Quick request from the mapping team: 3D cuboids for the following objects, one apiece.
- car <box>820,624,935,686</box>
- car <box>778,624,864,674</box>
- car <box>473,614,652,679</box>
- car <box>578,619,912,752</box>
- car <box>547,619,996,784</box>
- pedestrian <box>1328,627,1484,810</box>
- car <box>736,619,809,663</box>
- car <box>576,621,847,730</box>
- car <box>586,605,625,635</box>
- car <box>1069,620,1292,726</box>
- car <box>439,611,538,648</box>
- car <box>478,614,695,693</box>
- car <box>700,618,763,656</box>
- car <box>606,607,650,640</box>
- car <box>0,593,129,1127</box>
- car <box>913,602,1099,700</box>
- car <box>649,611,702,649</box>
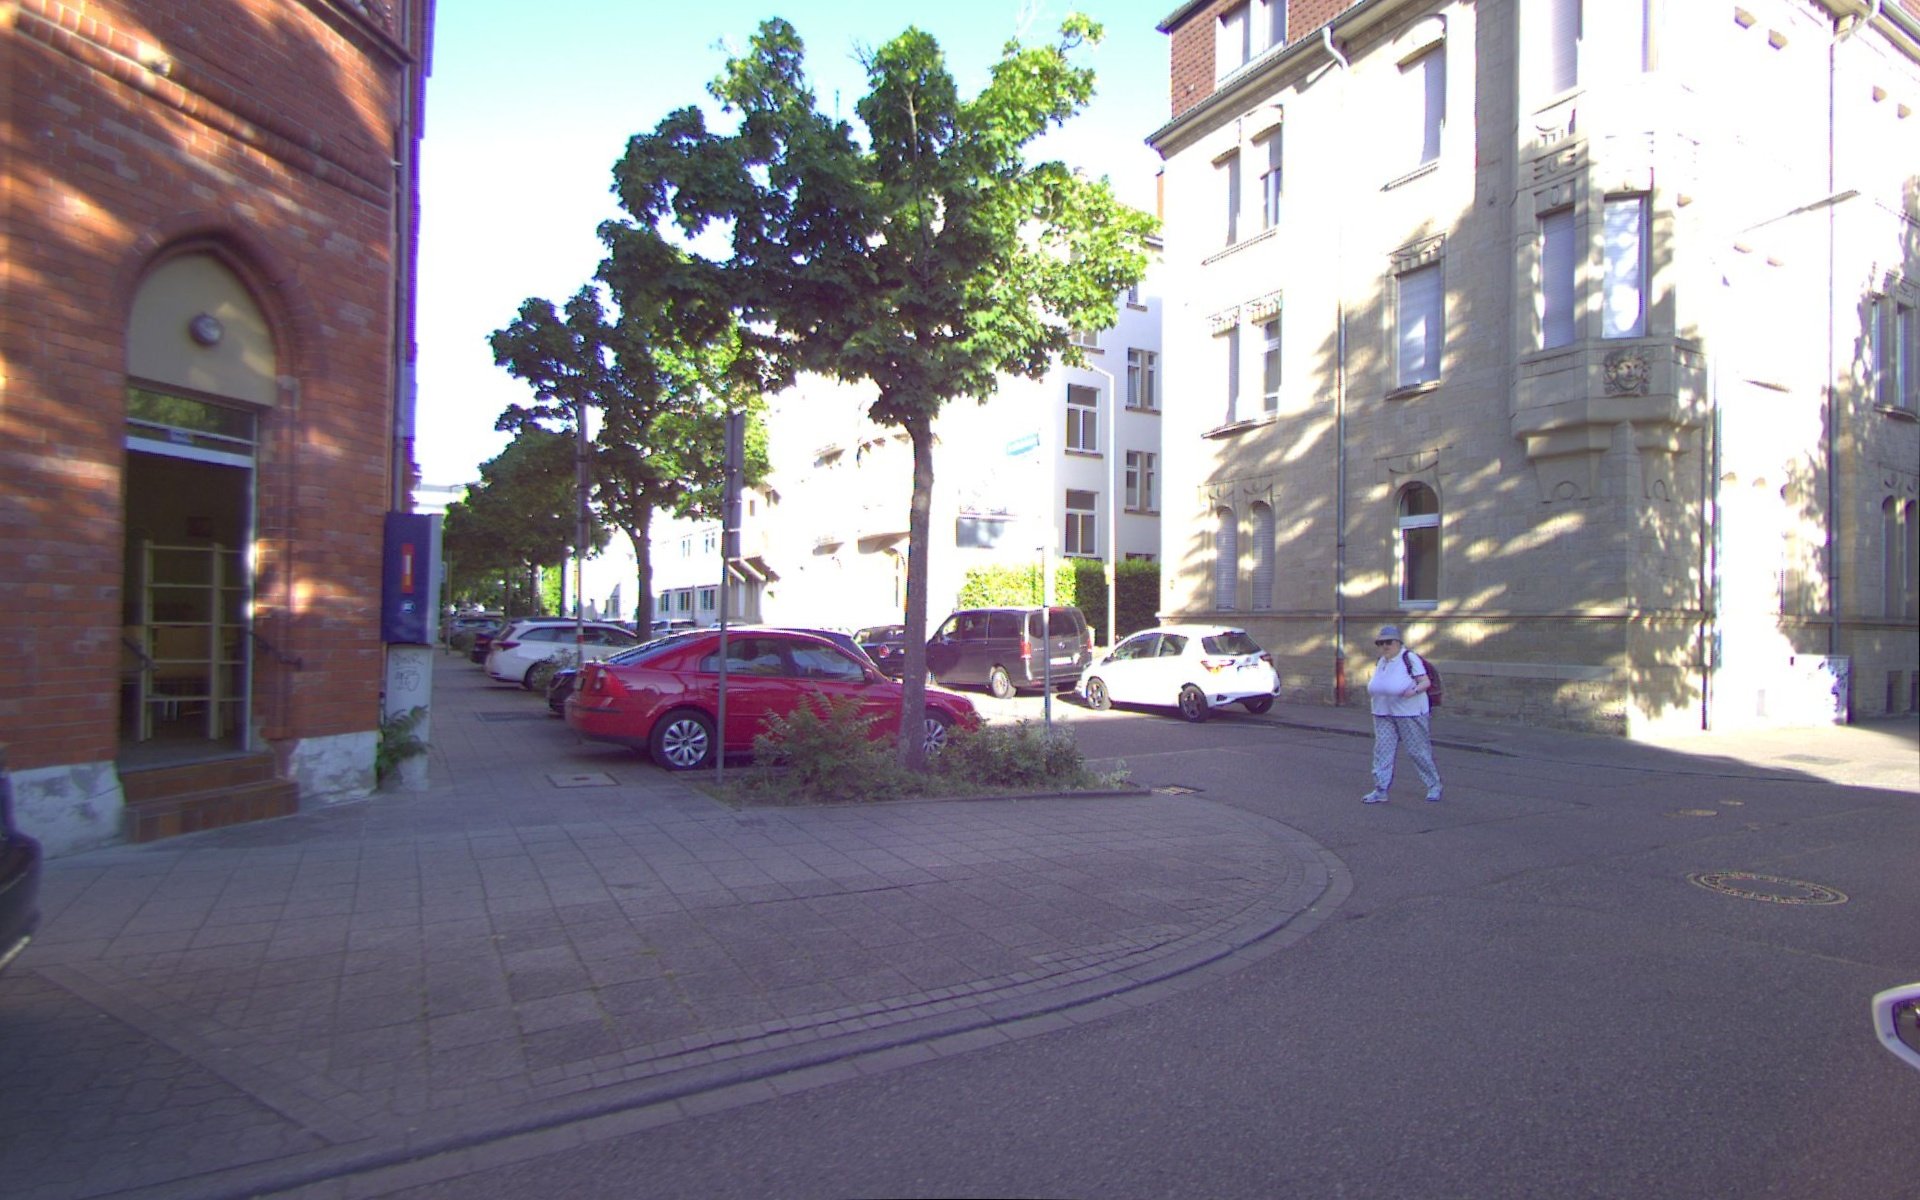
[{"bbox_3d":[-2.339,1.452,27.705,1.584,1.493,3.869,-2,0,-31],"label":"car"},{"bbox_3d":[-4.445,1.507,31.865,1.471,1.424,3.386,-2,0,-31],"label":"car"},{"bbox_3d":[-10.419,1.206,26.395,4.162,1.570,1.705,1,-2,-30],"label":"car"},{"bbox_3d":[-2.889,1.084,13.739,4.163,1.570,1.705,2,-2,-30],"label":"car"},{"bbox_3d":[-1.984,1.018,11.108,4.603,1.488,1.628,2,-1,-30],"label":"car"},{"bbox_3d":[4.187,1.057,9.458,1.041,1.598,0.884,1,-2,-30],"label":"pedestrian"},{"bbox_3d":[-6.789,1.431,36.167,1.471,1.424,3.386,-2,0,-31],"label":"car"},{"bbox_3d":[-3.930,1.160,16.011,3.869,1.532,1.705,2,-2,-30],"label":"car"},{"bbox_3d":[-22.077,1.231,62.558,1.633,1.753,3.387,-2,0,-30],"label":"car"},{"bbox_3d":[3.750,1.180,17.668,1.699,1.571,3.776,-2,0,-31],"label":"car"},{"bbox_3d":[-22.730,1.425,48.428,4.165,1.722,1.704,2,-2,-32],"label":"car"},{"bbox_3d":[-8.035,1.127,21.692,4.163,1.570,1.705,2,-2,-30],"label":"car"},{"bbox_3d":[-9.373,1.467,41.086,1.471,1.424,3.386,-2,0,-31],"label":"car"},{"bbox_3d":[-18.746,1.310,56.594,1.633,1.753,3.387,-2,0,-30],"label":"car"},{"bbox_3d":[-4.733,0.659,2.153,4.282,1.429,1.628,2,1,-30],"label":"car"},{"bbox_3d":[0.889,1.044,22.438,1.846,1.891,4.688,-2,0,-31],"label":"car"},{"bbox_3d":[-13.880,1.433,48.870,1.634,1.753,3.386,-2,0,-31],"label":"car"}]
